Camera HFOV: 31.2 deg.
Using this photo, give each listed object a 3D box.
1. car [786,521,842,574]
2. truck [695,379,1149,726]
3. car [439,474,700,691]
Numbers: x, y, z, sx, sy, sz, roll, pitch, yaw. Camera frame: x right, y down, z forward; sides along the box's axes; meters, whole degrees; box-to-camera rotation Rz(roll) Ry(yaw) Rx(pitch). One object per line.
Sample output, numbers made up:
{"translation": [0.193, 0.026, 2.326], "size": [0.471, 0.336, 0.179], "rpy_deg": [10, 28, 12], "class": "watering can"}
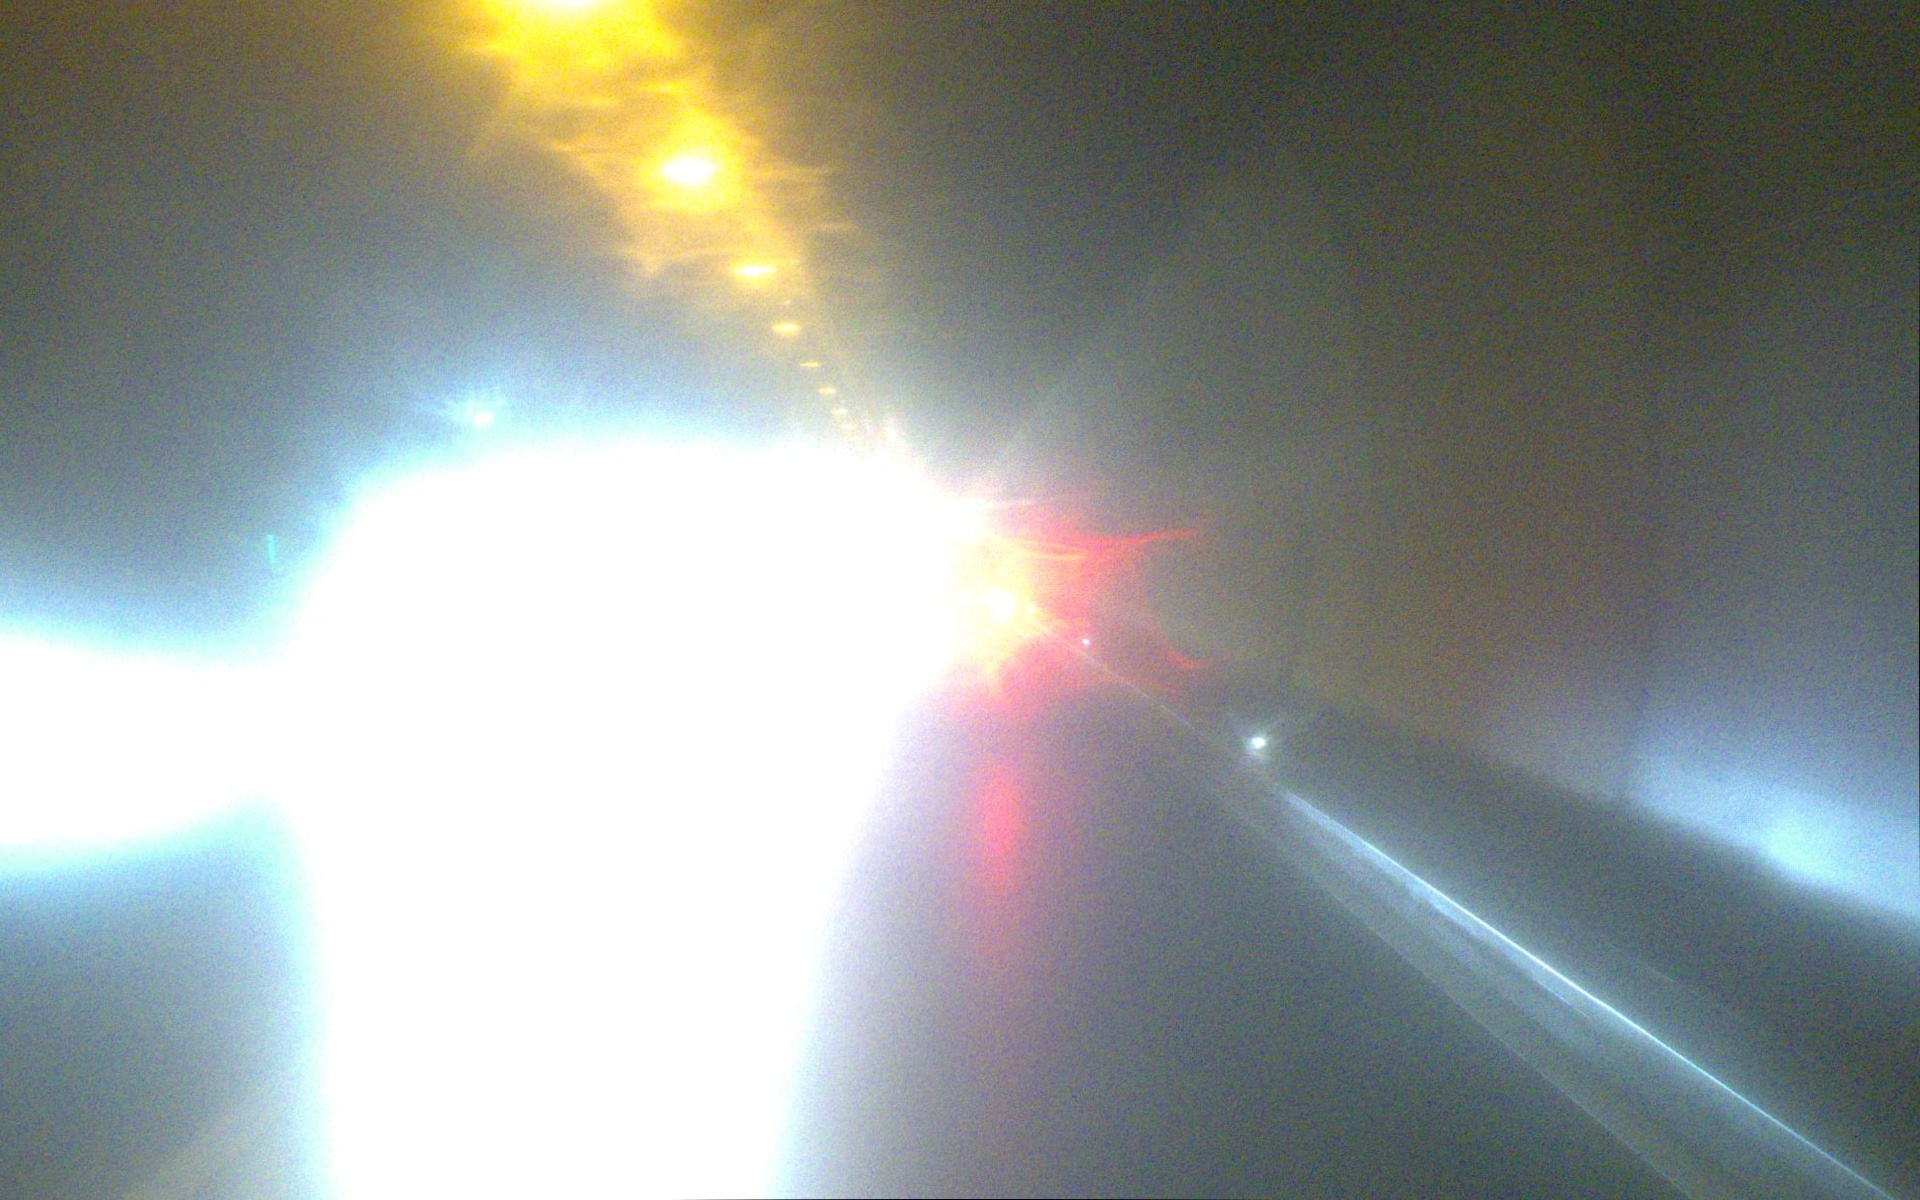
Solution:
{"translation": [-4.570, -1.646, 107.812], "size": [1.598, 1.608, 3.996], "rpy_deg": [0, 1, 0], "class": "car"}
{"translation": [-0.348, -0.439, 31.377], "size": [3.535, 2.684, 8.956], "rpy_deg": [0, 1, -1], "class": "truck"}
{"translation": [-3.818, -0.202, 34.377], "size": [2.085, 2.007, 4.560], "rpy_deg": [0, 1, 0], "class": "car"}
